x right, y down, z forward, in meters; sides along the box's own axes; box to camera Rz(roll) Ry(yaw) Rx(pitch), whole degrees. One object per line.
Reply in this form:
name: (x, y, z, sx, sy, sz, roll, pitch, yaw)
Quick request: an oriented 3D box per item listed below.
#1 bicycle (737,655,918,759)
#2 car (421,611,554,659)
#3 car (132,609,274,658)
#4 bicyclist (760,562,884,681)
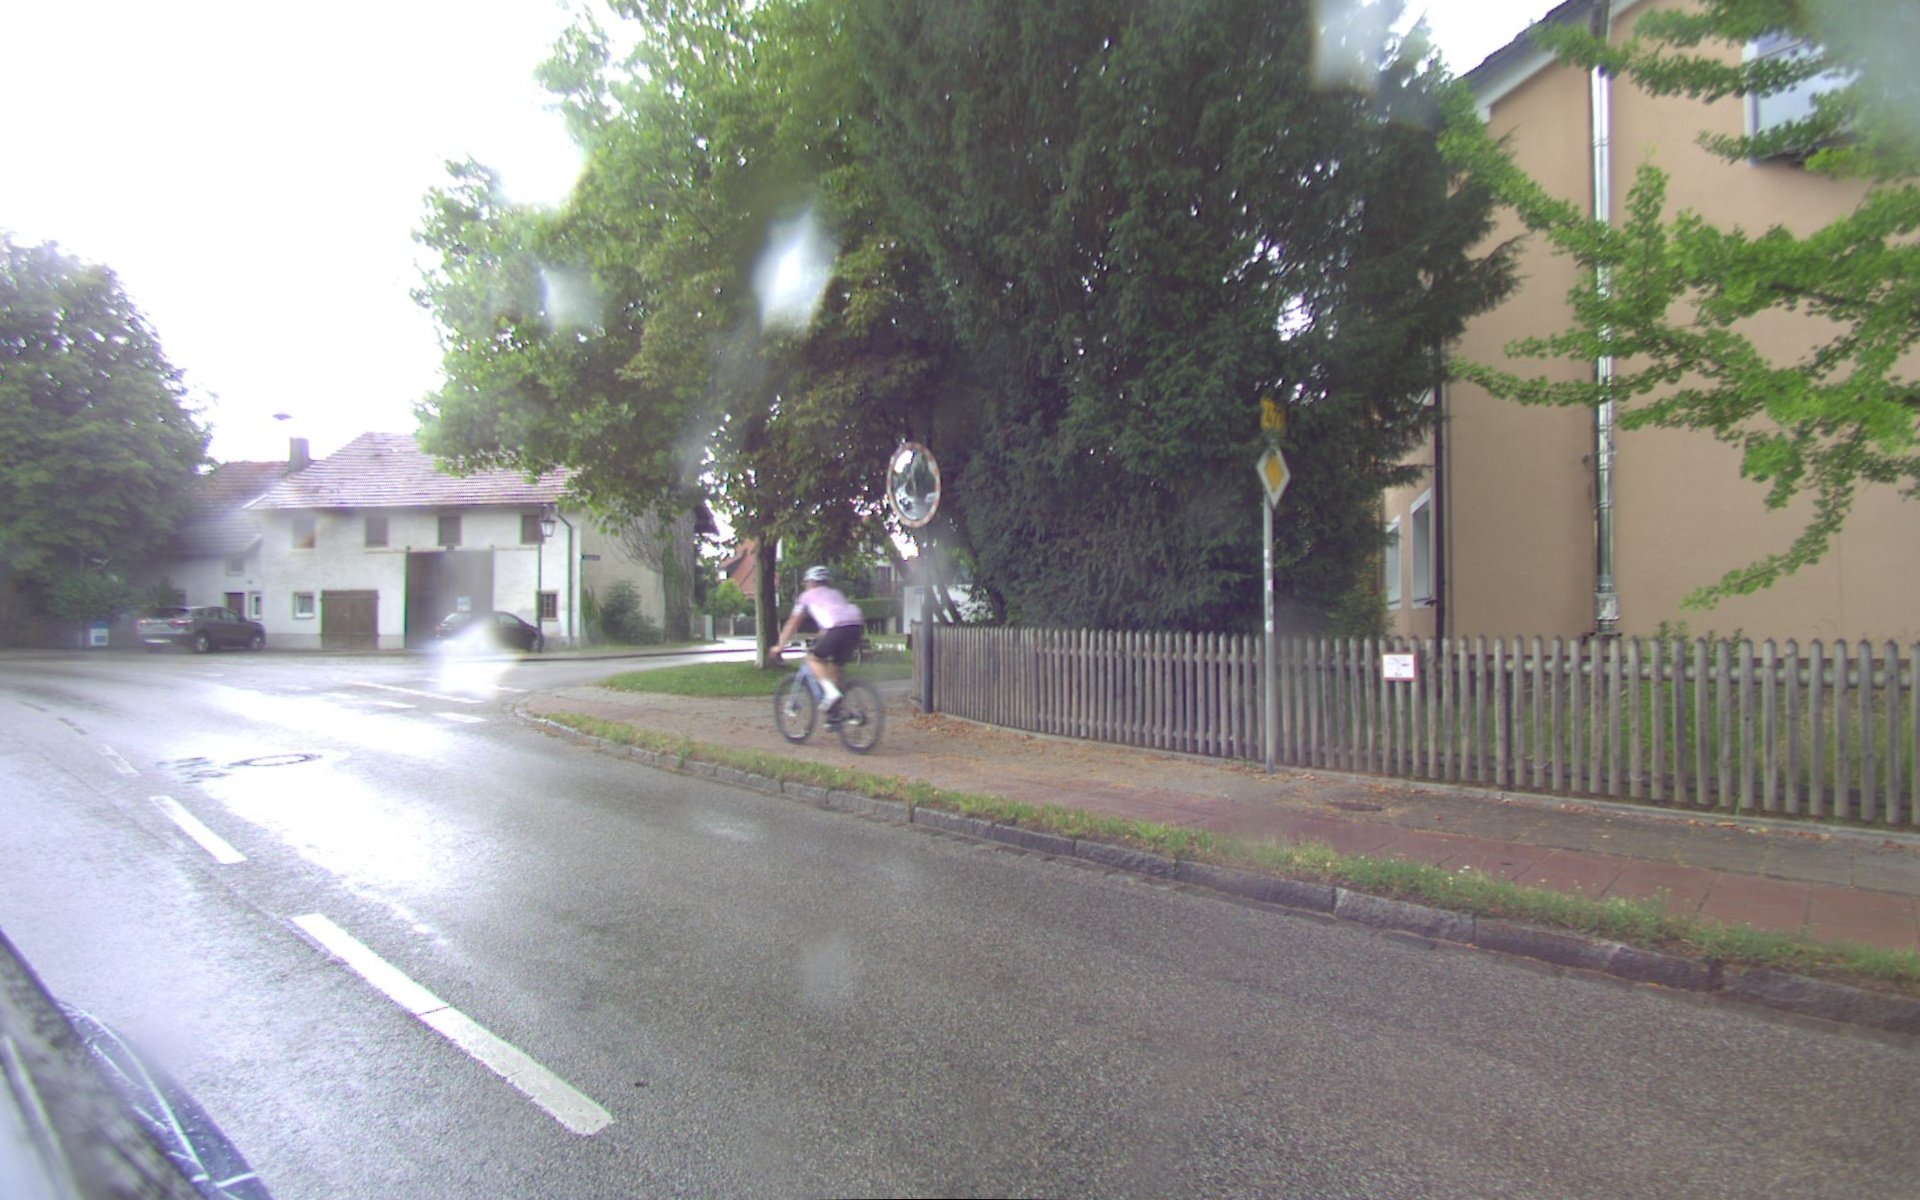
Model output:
bicycle: (-1.258, 0.938, 9.287, 1.976, 0.805, 0.451, -1, -1, 41)
car: (-15.467, 1.105, 33.401, 1.802, 1.447, 4.264, 0, -1, 12)
car: (-25.996, 1.178, 34.956, 1.791, 1.560, 4.283, 0, -2, -2)
bicyclist: (-1.277, 0.191, 9.307, 1.060, 1.029, 0.581, -1, -1, 41)
